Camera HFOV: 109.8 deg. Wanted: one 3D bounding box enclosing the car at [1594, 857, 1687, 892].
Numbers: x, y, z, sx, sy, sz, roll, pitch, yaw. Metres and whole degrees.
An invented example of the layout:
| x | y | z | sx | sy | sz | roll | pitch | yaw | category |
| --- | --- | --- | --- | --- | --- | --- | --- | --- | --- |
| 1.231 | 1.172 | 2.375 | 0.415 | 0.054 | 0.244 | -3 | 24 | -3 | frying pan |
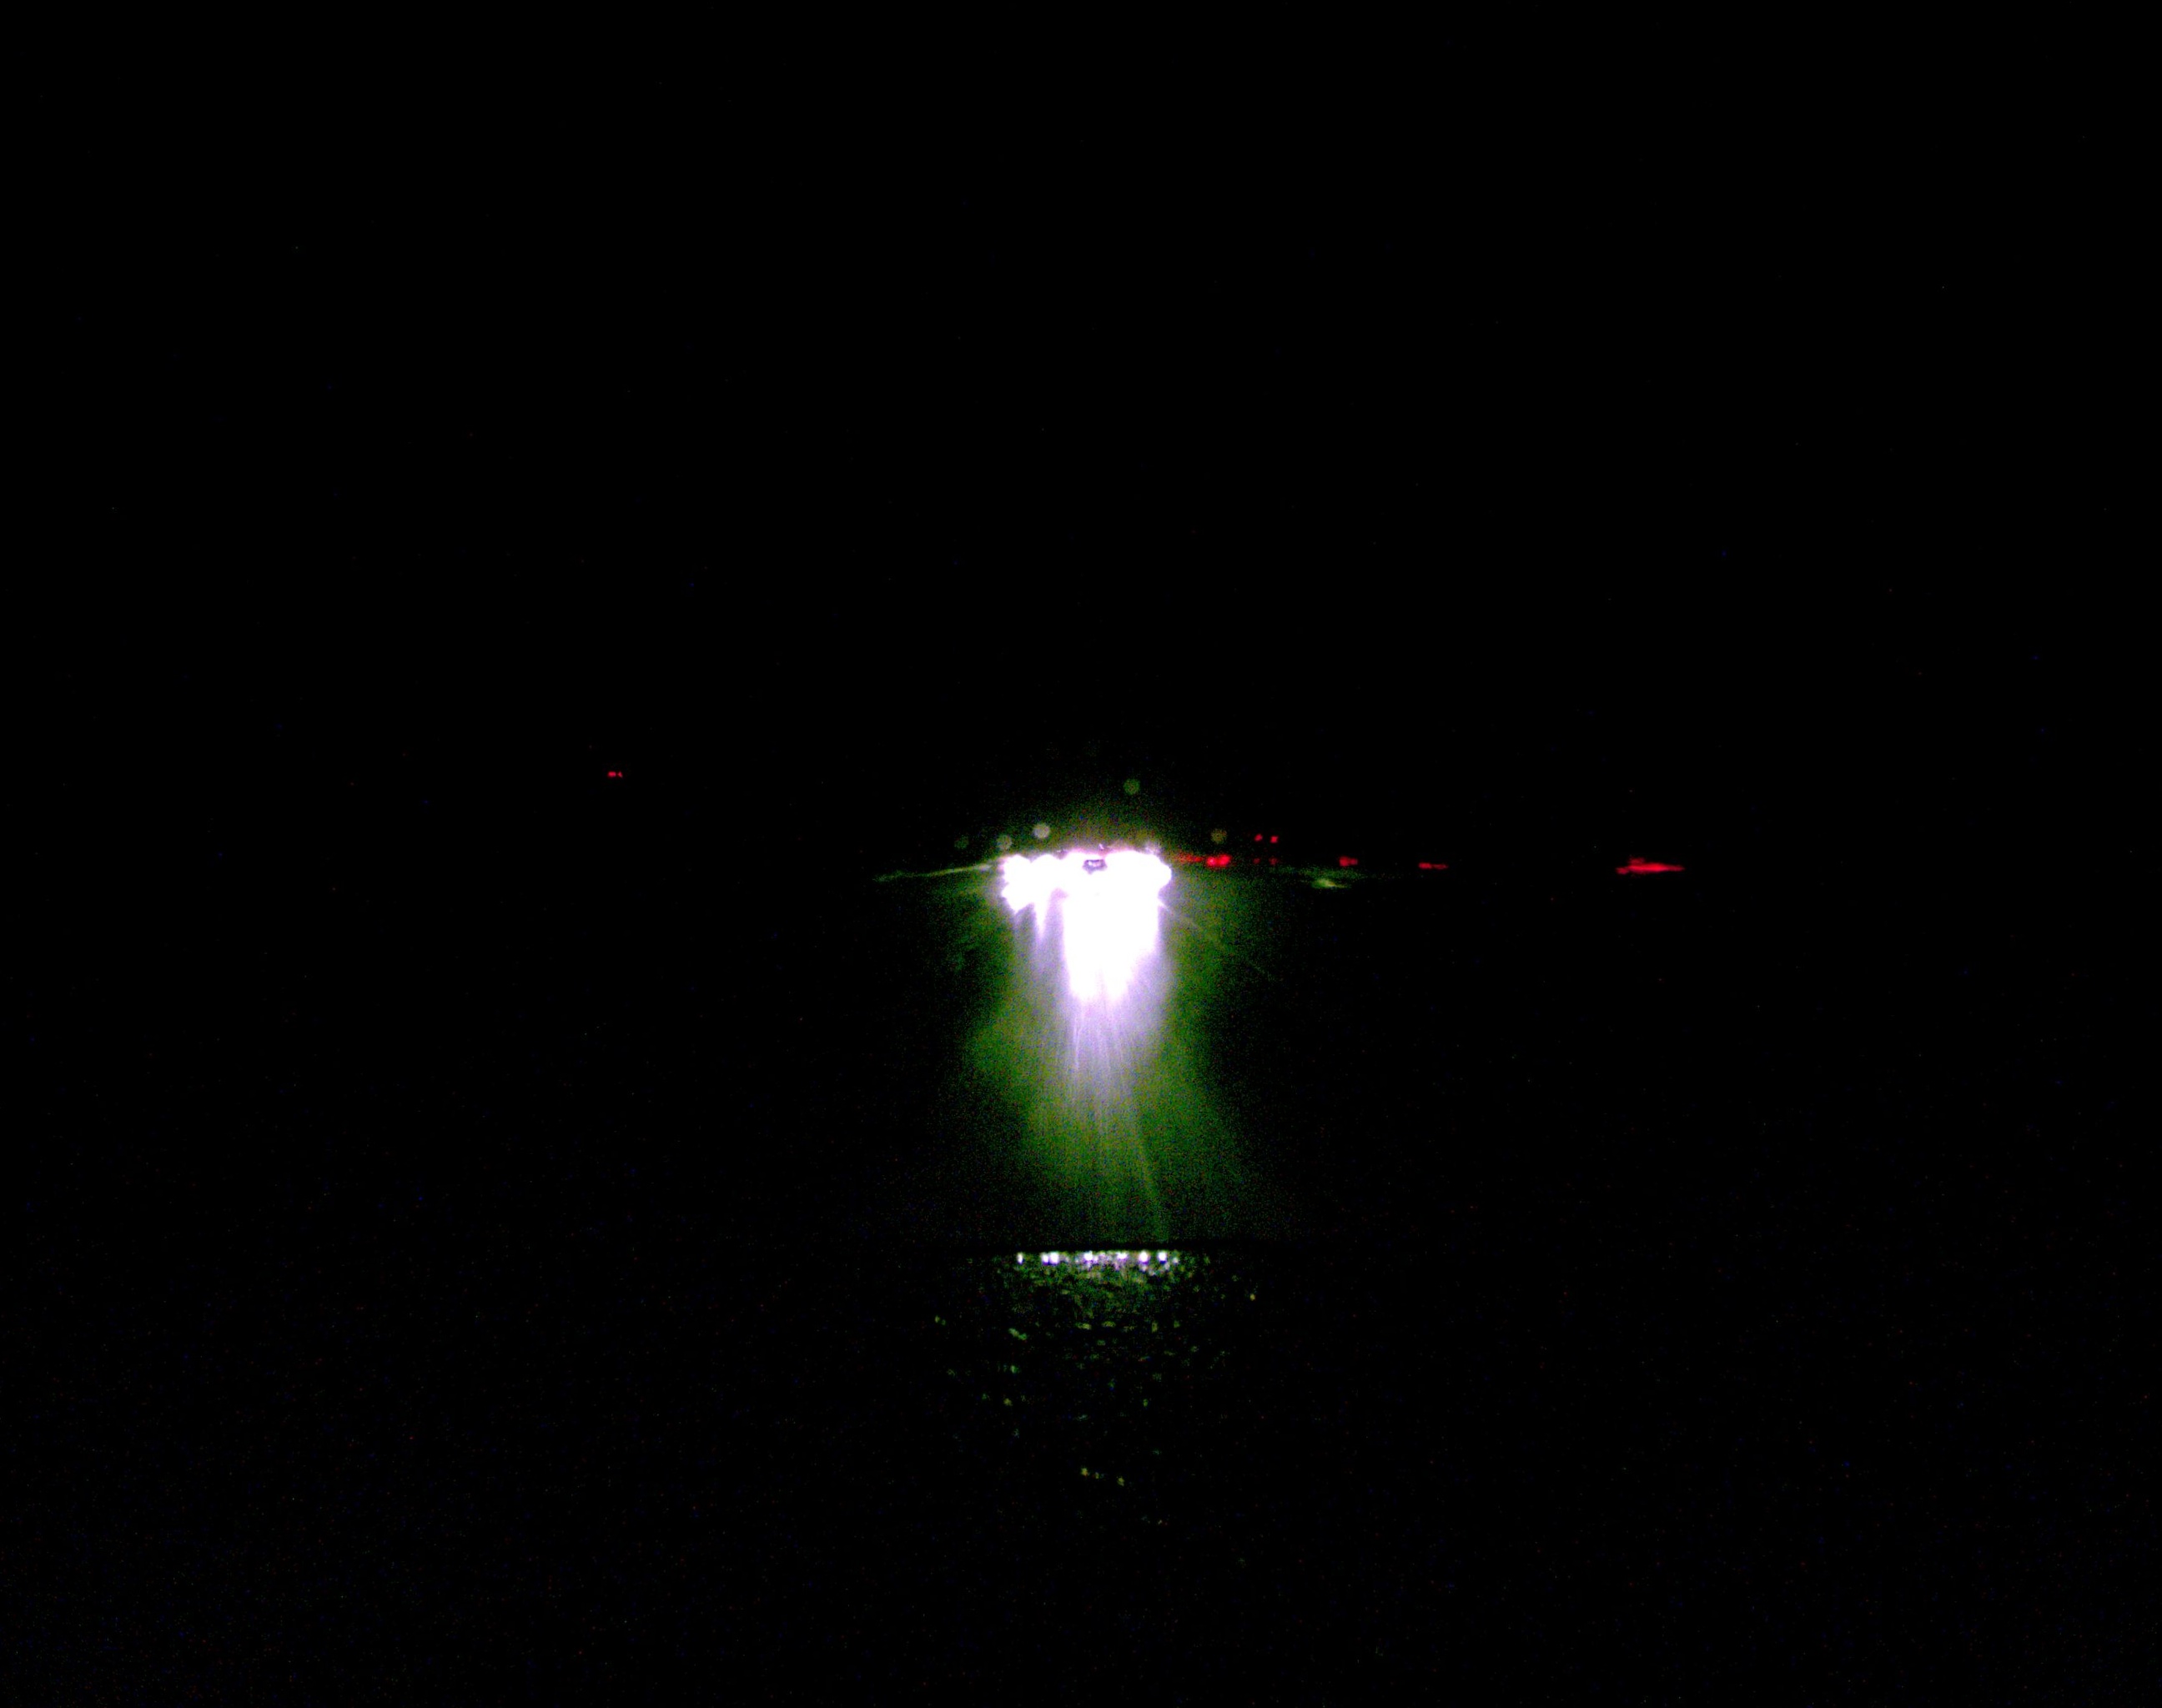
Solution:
| x | y | z | sx | sy | sz | roll | pitch | yaw | category |
| --- | --- | --- | --- | --- | --- | --- | --- | --- | --- |
| 28.404 | 1.007 | 38.746 | 1.805 | 1.564 | 3.999 | -2 | 1 | 1 | car |

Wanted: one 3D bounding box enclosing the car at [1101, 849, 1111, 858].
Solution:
| x | y | z | sx | sy | sz | roll | pitch | yaw | category |
| --- | --- | --- | --- | --- | --- | --- | --- | --- | --- |
| 4.905 | -0.102 | 150.266 | 1.800 | 1.728 | 3.999 | -2 | 1 | 1 | car |

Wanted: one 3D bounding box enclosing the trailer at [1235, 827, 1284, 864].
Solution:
| x | y | z | sx | sy | sz | roll | pitch | yaw | category |
| --- | --- | --- | --- | --- | --- | --- | --- | --- | --- |
| 25.999 | -1.256 | 111.734 | 3.798 | 4.999 | 14.799 | -2 | 1 | 1 | trailer |

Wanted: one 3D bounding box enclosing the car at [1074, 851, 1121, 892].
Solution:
| x | y | z | sx | sy | sz | roll | pitch | yaw | category |
| --- | --- | --- | --- | --- | --- | --- | --- | --- | --- |
| 0.726 | 0.740 | 34.806 | 1.960 | 1.655 | 4.915 | -2 | 0 | 1 | car |

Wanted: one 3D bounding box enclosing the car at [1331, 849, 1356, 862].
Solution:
| x | y | z | sx | sy | sz | roll | pitch | yaw | category |
| --- | --- | --- | --- | --- | --- | --- | --- | --- | --- |
| 32.355 | 0.202 | 93.674 | 1.661 | 1.504 | 3.999 | -2 | 1 | 1 | car |

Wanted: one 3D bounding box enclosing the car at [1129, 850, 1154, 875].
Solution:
| x | y | z | sx | sy | sz | roll | pitch | yaw | category |
| --- | --- | --- | --- | --- | --- | --- | --- | --- | --- |
| 4.575 | 0.605 | 57.750 | 1.611 | 1.775 | 3.910 | -2 | 1 | 1 | car |

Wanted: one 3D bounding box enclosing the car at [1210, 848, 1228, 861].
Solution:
| x | y | z | sx | sy | sz | roll | pitch | yaw | category |
| --- | --- | --- | --- | --- | --- | --- | --- | --- | --- |
| 17.609 | 0.004 | 97.183 | 1.661 | 1.504 | 3.945 | -2 | 1 | 1 | car |

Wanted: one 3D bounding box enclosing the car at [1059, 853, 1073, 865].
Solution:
| x | y | z | sx | sy | sz | roll | pitch | yaw | category |
| --- | --- | --- | --- | --- | --- | --- | --- | --- | --- |
| -2.452 | 0.798 | 124.820 | 1.998 | 1.852 | 3.999 | -2 | 1 | 1 | car |

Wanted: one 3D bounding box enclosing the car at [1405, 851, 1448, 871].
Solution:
| x | y | z | sx | sy | sz | roll | pitch | yaw | category |
| --- | --- | --- | --- | --- | --- | --- | --- | --- | --- |
| 28.279 | 0.549 | 62.322 | 1.661 | 1.504 | 3.999 | -2 | 1 | 1 | car |

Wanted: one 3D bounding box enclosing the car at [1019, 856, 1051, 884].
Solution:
| x | y | z | sx | sy | sz | roll | pitch | yaw | category |
| --- | --- | --- | --- | --- | --- | --- | --- | --- | --- |
| -3.071 | 1.033 | 51.027 | 1.792 | 1.681 | 3.999 | -2 | 1 | 1 | car |

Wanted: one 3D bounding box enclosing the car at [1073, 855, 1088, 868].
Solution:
| x | y | z | sx | sy | sz | roll | pitch | yaw | category |
| --- | --- | --- | --- | --- | --- | --- | --- | --- | --- |
| -0.010 | 0.956 | 97.046 | 1.755 | 1.563 | 3.999 | -2 | 1 | 1 | car |

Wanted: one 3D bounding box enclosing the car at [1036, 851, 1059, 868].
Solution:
| x | y | z | sx | sy | sz | roll | pitch | yaw | category |
| --- | --- | --- | --- | --- | --- | --- | --- | --- | --- |
| -3.603 | 0.564 | 82.356 | 1.998 | 1.590 | 4.653 | -2 | 1 | 3 | car |

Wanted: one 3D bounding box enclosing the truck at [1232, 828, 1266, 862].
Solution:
| x | y | z | sx | sy | sz | roll | pitch | yaw | category |
| --- | --- | --- | --- | --- | --- | --- | --- | --- | --- |
| 26.089 | -1.404 | 118.412 | 3.798 | 4.881 | 6.477 | -2 | 1 | 1 | truck |

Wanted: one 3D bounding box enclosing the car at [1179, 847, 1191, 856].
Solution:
| x | y | z | sx | sy | sz | roll | pitch | yaw | category |
| --- | --- | --- | --- | --- | --- | --- | --- | --- | --- |
| 18.375 | -0.519 | 134.435 | 1.661 | 1.504 | 3.999 | -2 | 1 | 1 | car |
